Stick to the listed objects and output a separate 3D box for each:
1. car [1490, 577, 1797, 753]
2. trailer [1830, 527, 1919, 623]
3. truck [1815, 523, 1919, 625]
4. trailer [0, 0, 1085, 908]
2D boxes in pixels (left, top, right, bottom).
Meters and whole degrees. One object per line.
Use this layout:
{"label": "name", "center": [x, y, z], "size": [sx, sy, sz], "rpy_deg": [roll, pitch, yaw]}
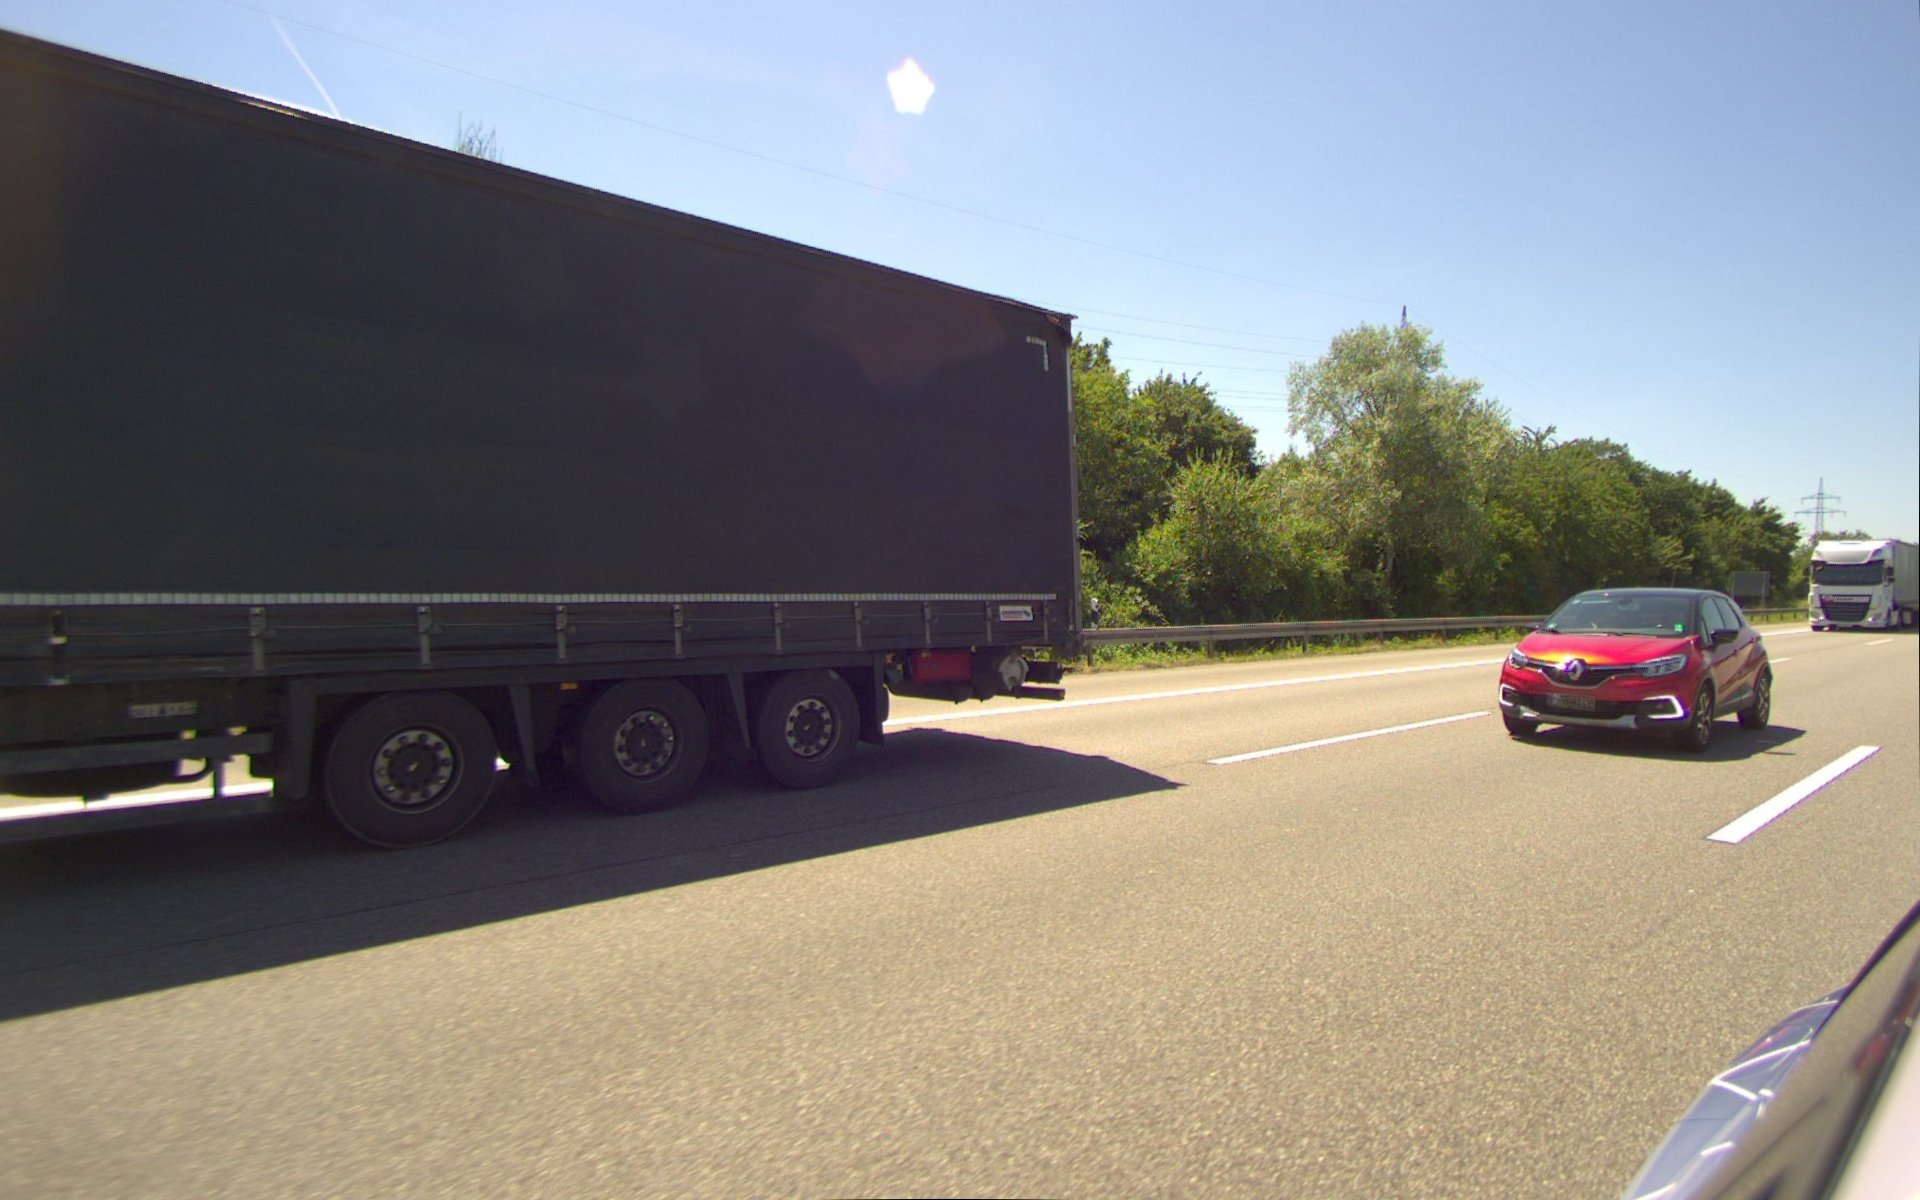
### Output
{"label": "car", "center": [7.514, 0.554, 10.996], "size": [3.930, 1.565, 1.806], "rpy_deg": [0, 1, -41]}
{"label": "trailer", "center": [45.281, -1.125, 49.160], "size": [12.893, 4.158, 2.741], "rpy_deg": [0, 1, -41]}
{"label": "truck", "center": [40.046, -1.089, 44.591], "size": [6.017, 4.171, 2.741], "rpy_deg": [0, 0, -41]}
{"label": "trailer", "center": [-4.810, -0.752, 5.938], "size": [13.336, 4.216, 2.794], "rpy_deg": [0, 1, -41]}
